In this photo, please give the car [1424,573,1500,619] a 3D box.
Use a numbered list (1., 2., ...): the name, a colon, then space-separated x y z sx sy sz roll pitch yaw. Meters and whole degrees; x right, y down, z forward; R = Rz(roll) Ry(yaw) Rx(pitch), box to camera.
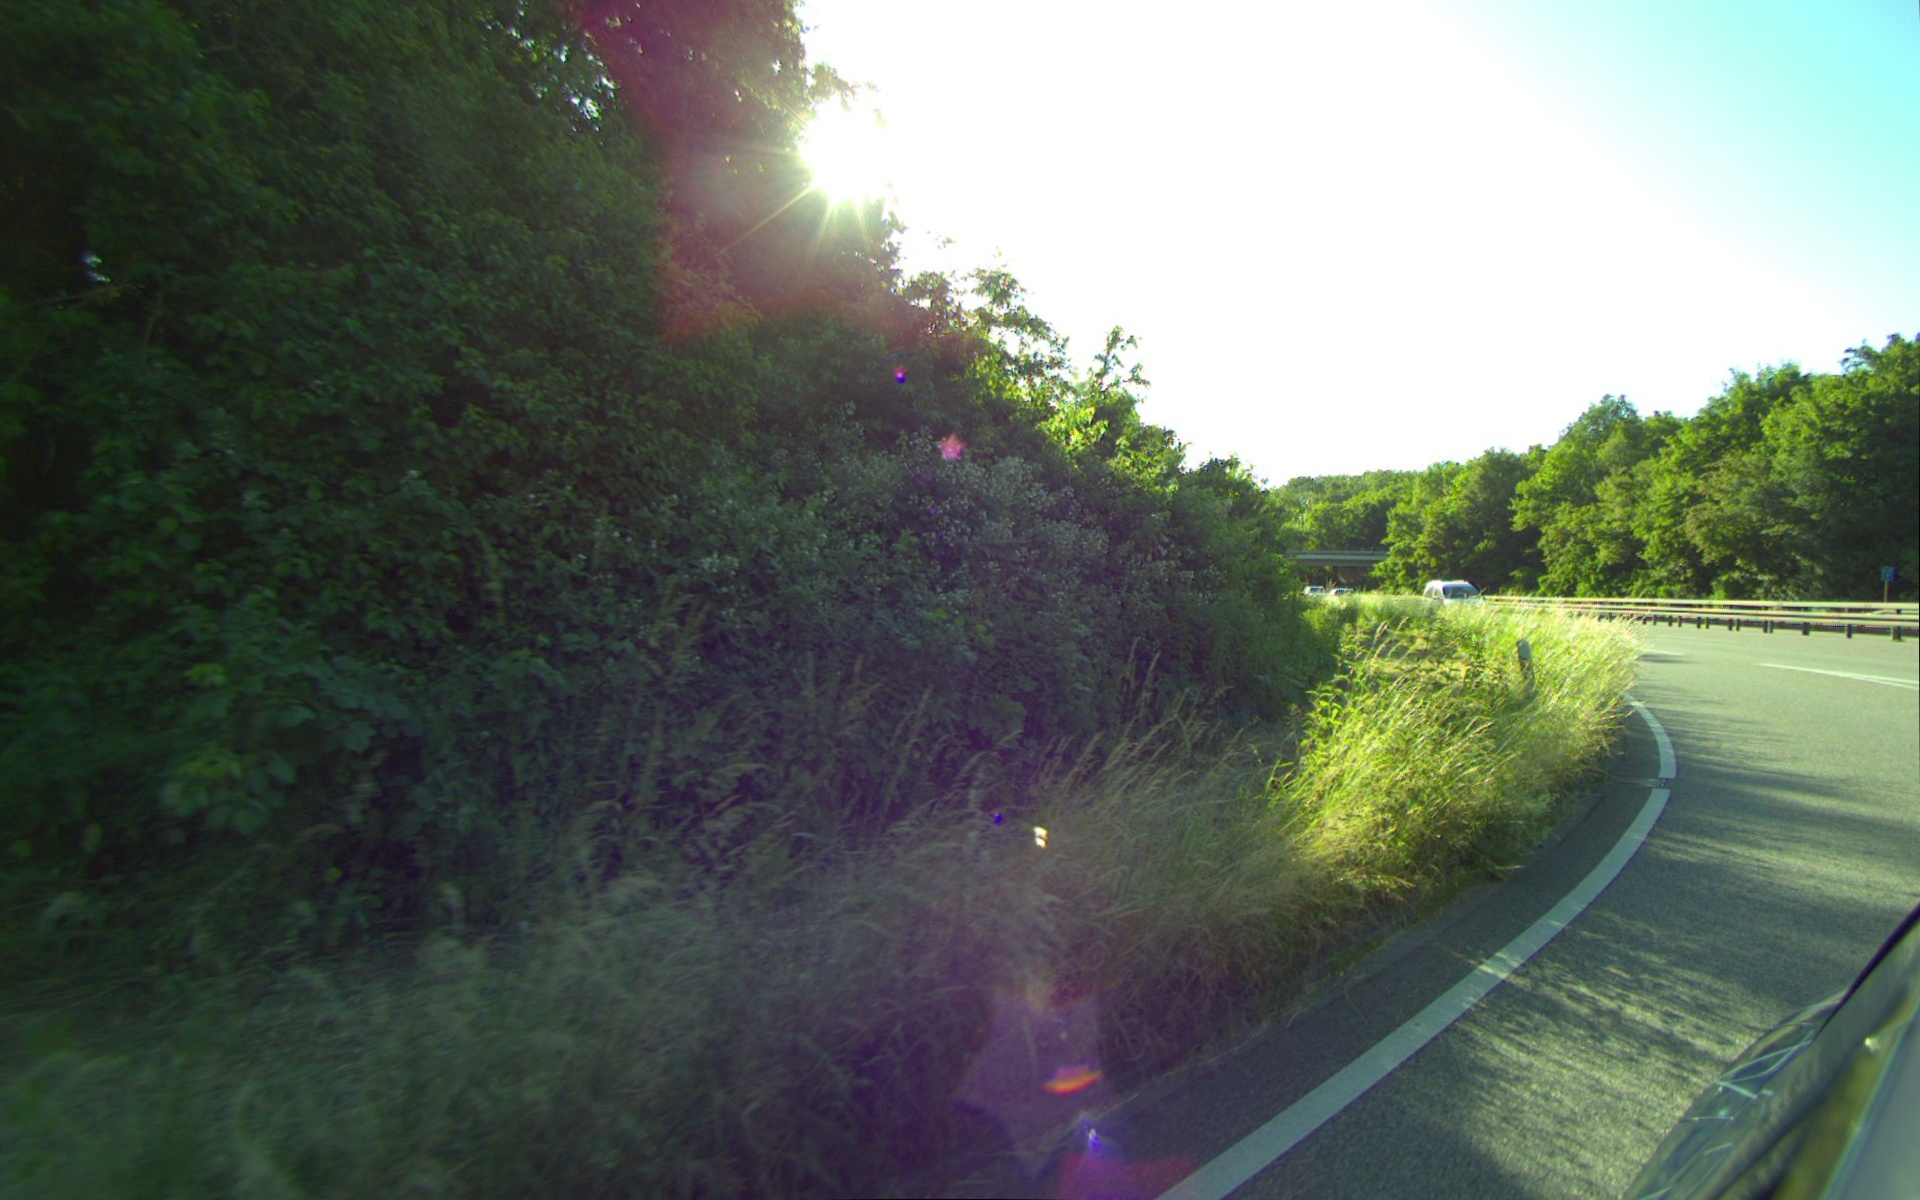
1. car: 21.714 -0.238 43.965 1.773 1.829 4.818 -1 2 11
